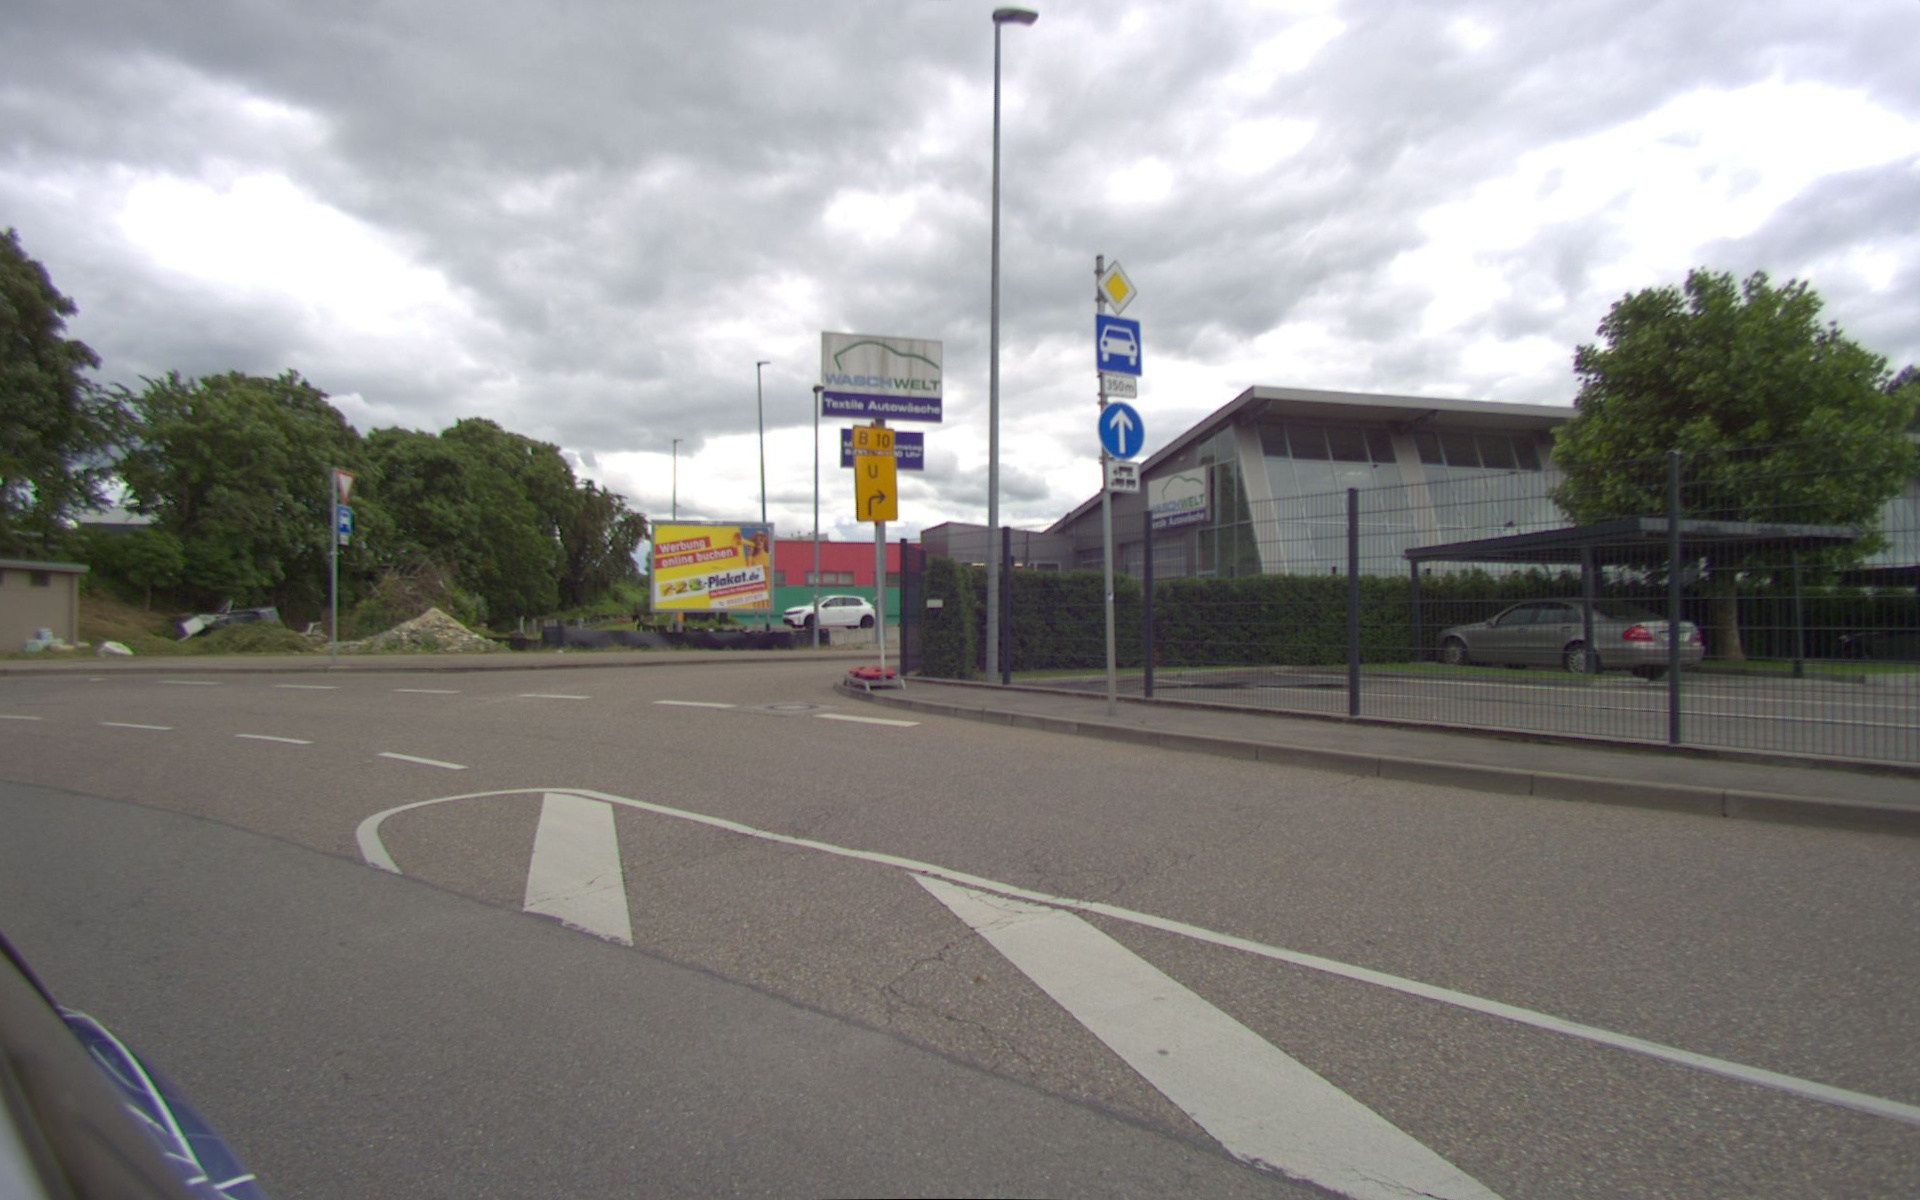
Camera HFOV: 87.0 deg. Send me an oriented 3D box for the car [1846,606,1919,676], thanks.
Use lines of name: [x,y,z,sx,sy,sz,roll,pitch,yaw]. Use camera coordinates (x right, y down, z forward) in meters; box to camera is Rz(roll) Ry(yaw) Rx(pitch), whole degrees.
car: [21.842,0.875,21.375,1.933,1.503,4.261,0,-1,-19]

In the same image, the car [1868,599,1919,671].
car: [23.564,0.799,22.734,1.933,1.660,4.261,0,-1,-19]

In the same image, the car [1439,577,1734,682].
car: [11.332,0.517,18.702,2.038,1.682,4.261,0,-1,-19]

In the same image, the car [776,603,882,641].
car: [-5.506,0.908,42.489,3.931,1.547,2.006,0,-1,-30]
